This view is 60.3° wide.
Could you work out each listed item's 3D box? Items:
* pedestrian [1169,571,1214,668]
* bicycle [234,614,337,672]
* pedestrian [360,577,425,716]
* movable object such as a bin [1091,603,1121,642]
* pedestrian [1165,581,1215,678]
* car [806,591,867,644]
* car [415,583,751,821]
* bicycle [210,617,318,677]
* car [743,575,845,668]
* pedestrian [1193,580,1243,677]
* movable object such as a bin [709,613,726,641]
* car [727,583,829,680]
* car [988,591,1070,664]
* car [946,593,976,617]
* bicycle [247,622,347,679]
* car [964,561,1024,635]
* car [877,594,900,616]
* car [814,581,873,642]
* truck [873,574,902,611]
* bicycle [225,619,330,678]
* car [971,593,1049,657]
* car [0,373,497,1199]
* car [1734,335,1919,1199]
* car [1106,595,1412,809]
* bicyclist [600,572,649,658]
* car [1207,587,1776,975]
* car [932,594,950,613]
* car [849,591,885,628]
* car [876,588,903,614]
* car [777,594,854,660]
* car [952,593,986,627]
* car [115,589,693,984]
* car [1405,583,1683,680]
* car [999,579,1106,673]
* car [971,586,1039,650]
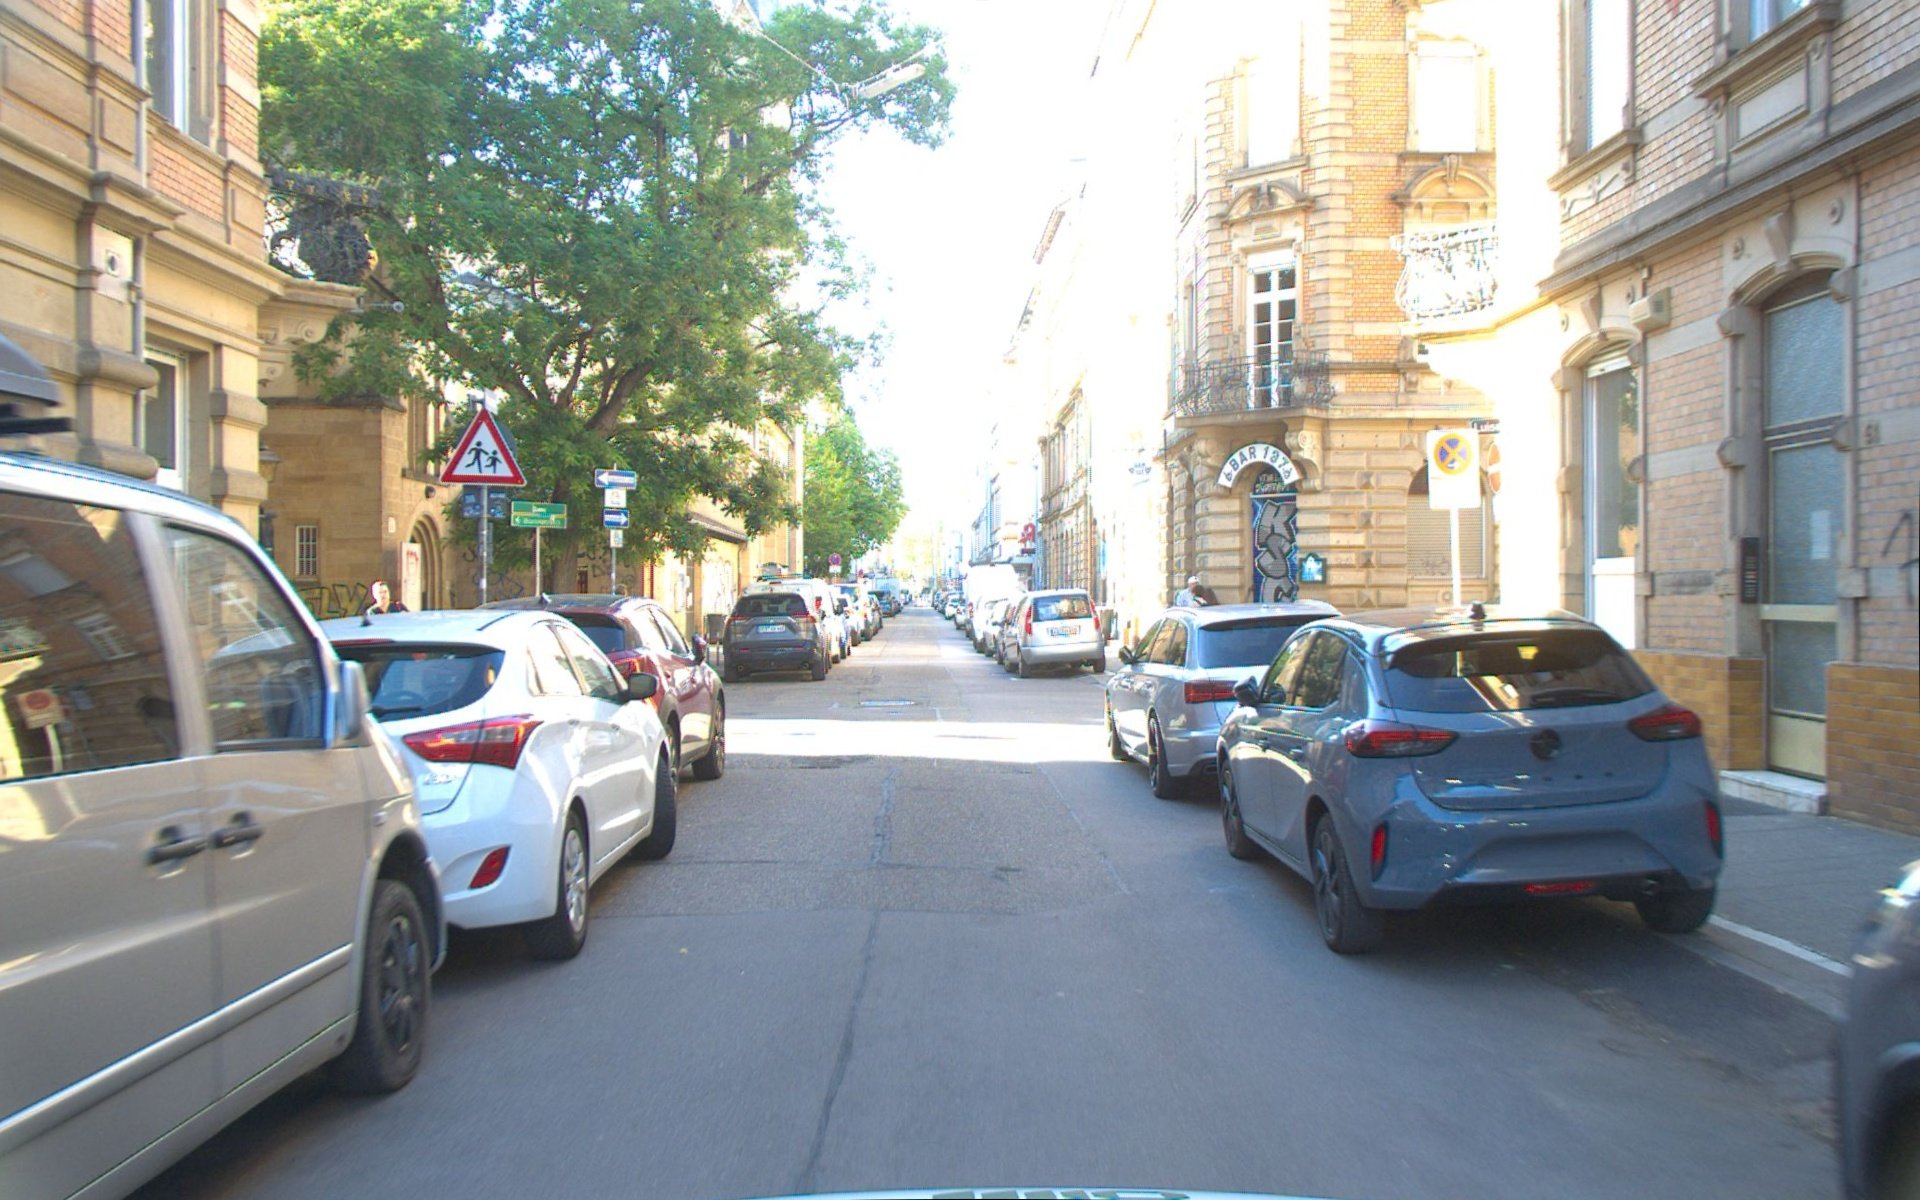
[{"bbox_3d":[4.295,0.350,30.710,0.564,1.763,0.661,-2,1,-14],"label":"pedestrian"},{"bbox_3d":[-12.926,0.814,31.712,1.740,1.073,0.478,-1,1,-2],"label":"bicycle"},{"bbox_3d":[-6.701,0.542,19.546,0.655,1.607,0.757,1,0,-15],"label":"pedestrian"},{"bbox_3d":[4.157,0.643,46.998,0.543,1.071,0.596,-4,1,-35],"label":"movable object such as a bin"},{"bbox_3d":[3.969,0.495,28.552,0.581,1.632,0.724,-2,1,-16],"label":"pedestrian"},{"bbox_3d":[-3.877,0.537,52.371,1.707,1.614,3.868,0,0,-1],"label":"car"},{"bbox_3d":[-2.688,0.655,12.710,1.687,1.507,4.088,1,0,-1],"label":"car"},{"bbox_3d":[-12.900,0.864,30.680,1.740,1.073,0.534,-1,1,-2],"label":"bicycle"},{"bbox_3d":[-3.591,0.416,36.495,1.808,1.895,4.465,-1,1,0],"label":"car"},{"bbox_3d":[4.491,0.478,28.812,0.564,1.650,0.731,-2,1,-16],"label":"pedestrian"},{"bbox_3d":[-7.253,0.794,49.503,0.444,0.821,0.590,0,0,-2],"label":"movable object such as a bin"},{"bbox_3d":[-3.371,0.545,31.263,1.706,1.675,4.286,-1,0,-4],"label":"car"},{"bbox_3d":[1.537,0.591,37.831,1.505,1.539,3.679,-1,0,-3],"label":"car"},{"bbox_3d":[0.017,0.317,106.847,1.859,1.514,3.868,0,0,-1],"label":"car"},{"bbox_3d":[-12.983,0.980,32.411,1.740,1.073,0.478,-1,1,-2],"label":"bicycle"},{"bbox_3d":[1.226,-0.088,62.429,2.026,2.656,5.886,0,0,-1],"label":"car"},{"bbox_3d":[-6.086,0.450,140.496,1.839,1.828,3.996,-1,0,-5],"label":"car"},{"bbox_3d":[-4.077,0.378,58.424,1.827,1.991,4.608,-2,0,-2],"label":"car"},{"bbox_3d":[-6.849,-0.718,156.944,2.481,3.339,6.993,0,0,-1],"label":"truck"},{"bbox_3d":[-12.874,0.905,31.221,1.740,1.073,0.478,-1,1,-2],"label":"bicycle"},{"bbox_3d":[1.266,0.626,43.433,1.541,1.552,3.904,2,0,-5],"label":"car"},{"bbox_3d":[-2.560,0.508,3.555,1.854,1.816,4.607,1,0,-1],"label":"car"},{"bbox_3d":[2.625,0.539,1.537,1.733,1.995,4.263,1,0,-1],"label":"car"},{"bbox_3d":[2.322,0.718,13.988,1.671,1.484,4.510,1,0,-1],"label":"car"},{"bbox_3d":[-7.043,0.310,34.715,0.788,1.753,0.692,2,1,7],"label":"bicyclist"},{"bbox_3d":[2.415,0.704,8.535,1.633,1.505,3.887,0,1,-1],"label":"car"},{"bbox_3d":[-2.119,0.350,183.152,1.953,2.049,3.999,0,0,-1],"label":"car"},{"bbox_3d":[-4.430,0.445,79.371,1.568,1.642,3.807,-3,0,-2],"label":"car"},{"bbox_3d":[-5.021,0.033,118.651,1.837,1.828,3.999,0,0,-1],"label":"car"},{"bbox_3d":[-3.600,0.633,41.790,1.653,1.502,3.859,-2,0,-2],"label":"car"},{"bbox_3d":[0.421,0.465,78.342,1.571,1.531,4.000,1,0,0],"label":"car"},{"bbox_3d":[-2.365,0.690,8.062,1.640,1.445,3.872,1,0,-3],"label":"car"},{"bbox_3d":[9.362,0.479,26.713,3.899,1.477,1.733,0,1,-1],"label":"car"},{"bbox_3d":[1.790,0.475,33.057,1.669,1.744,3.935,-1,0,-3],"label":"car"},{"bbox_3d":[1.256,0.506,47.807,1.771,1.719,4.213,1,0,-1],"label":"car"}]
